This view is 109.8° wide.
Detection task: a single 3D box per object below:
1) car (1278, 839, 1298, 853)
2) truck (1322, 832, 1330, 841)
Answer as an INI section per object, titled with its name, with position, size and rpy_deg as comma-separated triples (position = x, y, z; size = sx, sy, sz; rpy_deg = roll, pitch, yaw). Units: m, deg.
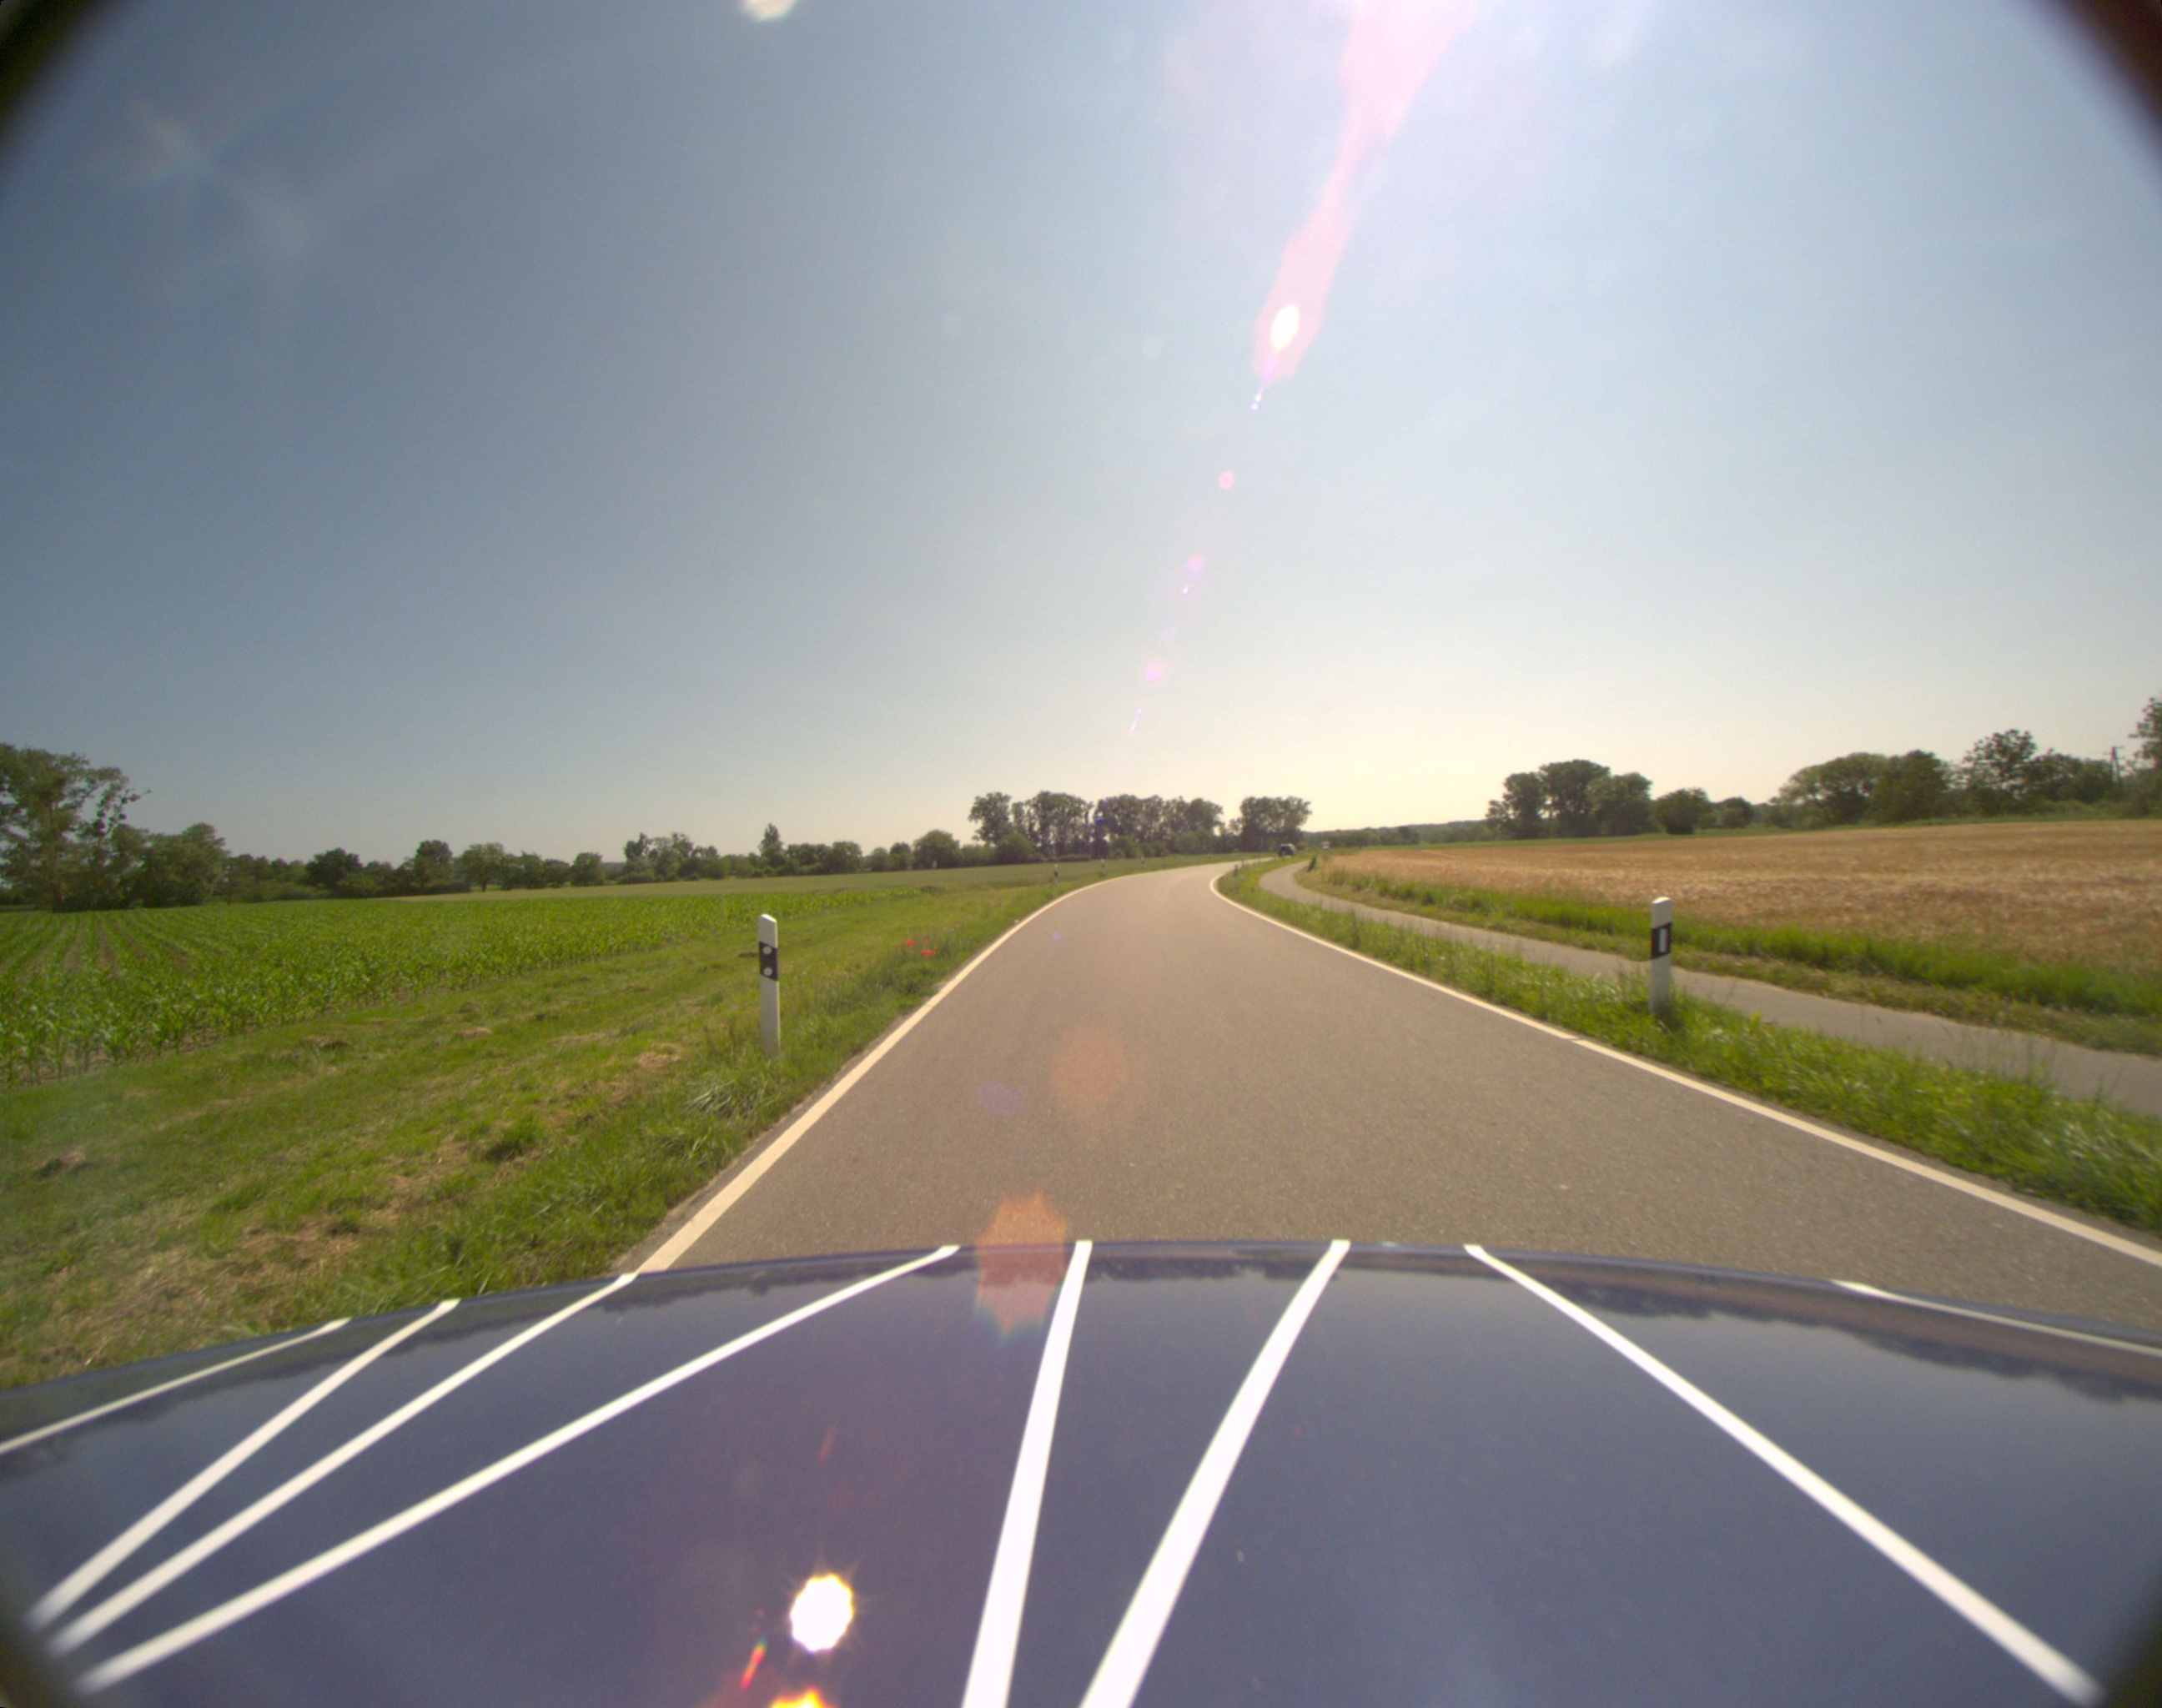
[car]
position = 26.866, -1.074, 98.482
size = 1.888, 1.705, 4.020
rpy_deg = -2, 0, 22
[truck]
position = 79.581, -5.776, 246.370
size = 1.995, 2.821, 5.225
rpy_deg = -3, 0, 23
